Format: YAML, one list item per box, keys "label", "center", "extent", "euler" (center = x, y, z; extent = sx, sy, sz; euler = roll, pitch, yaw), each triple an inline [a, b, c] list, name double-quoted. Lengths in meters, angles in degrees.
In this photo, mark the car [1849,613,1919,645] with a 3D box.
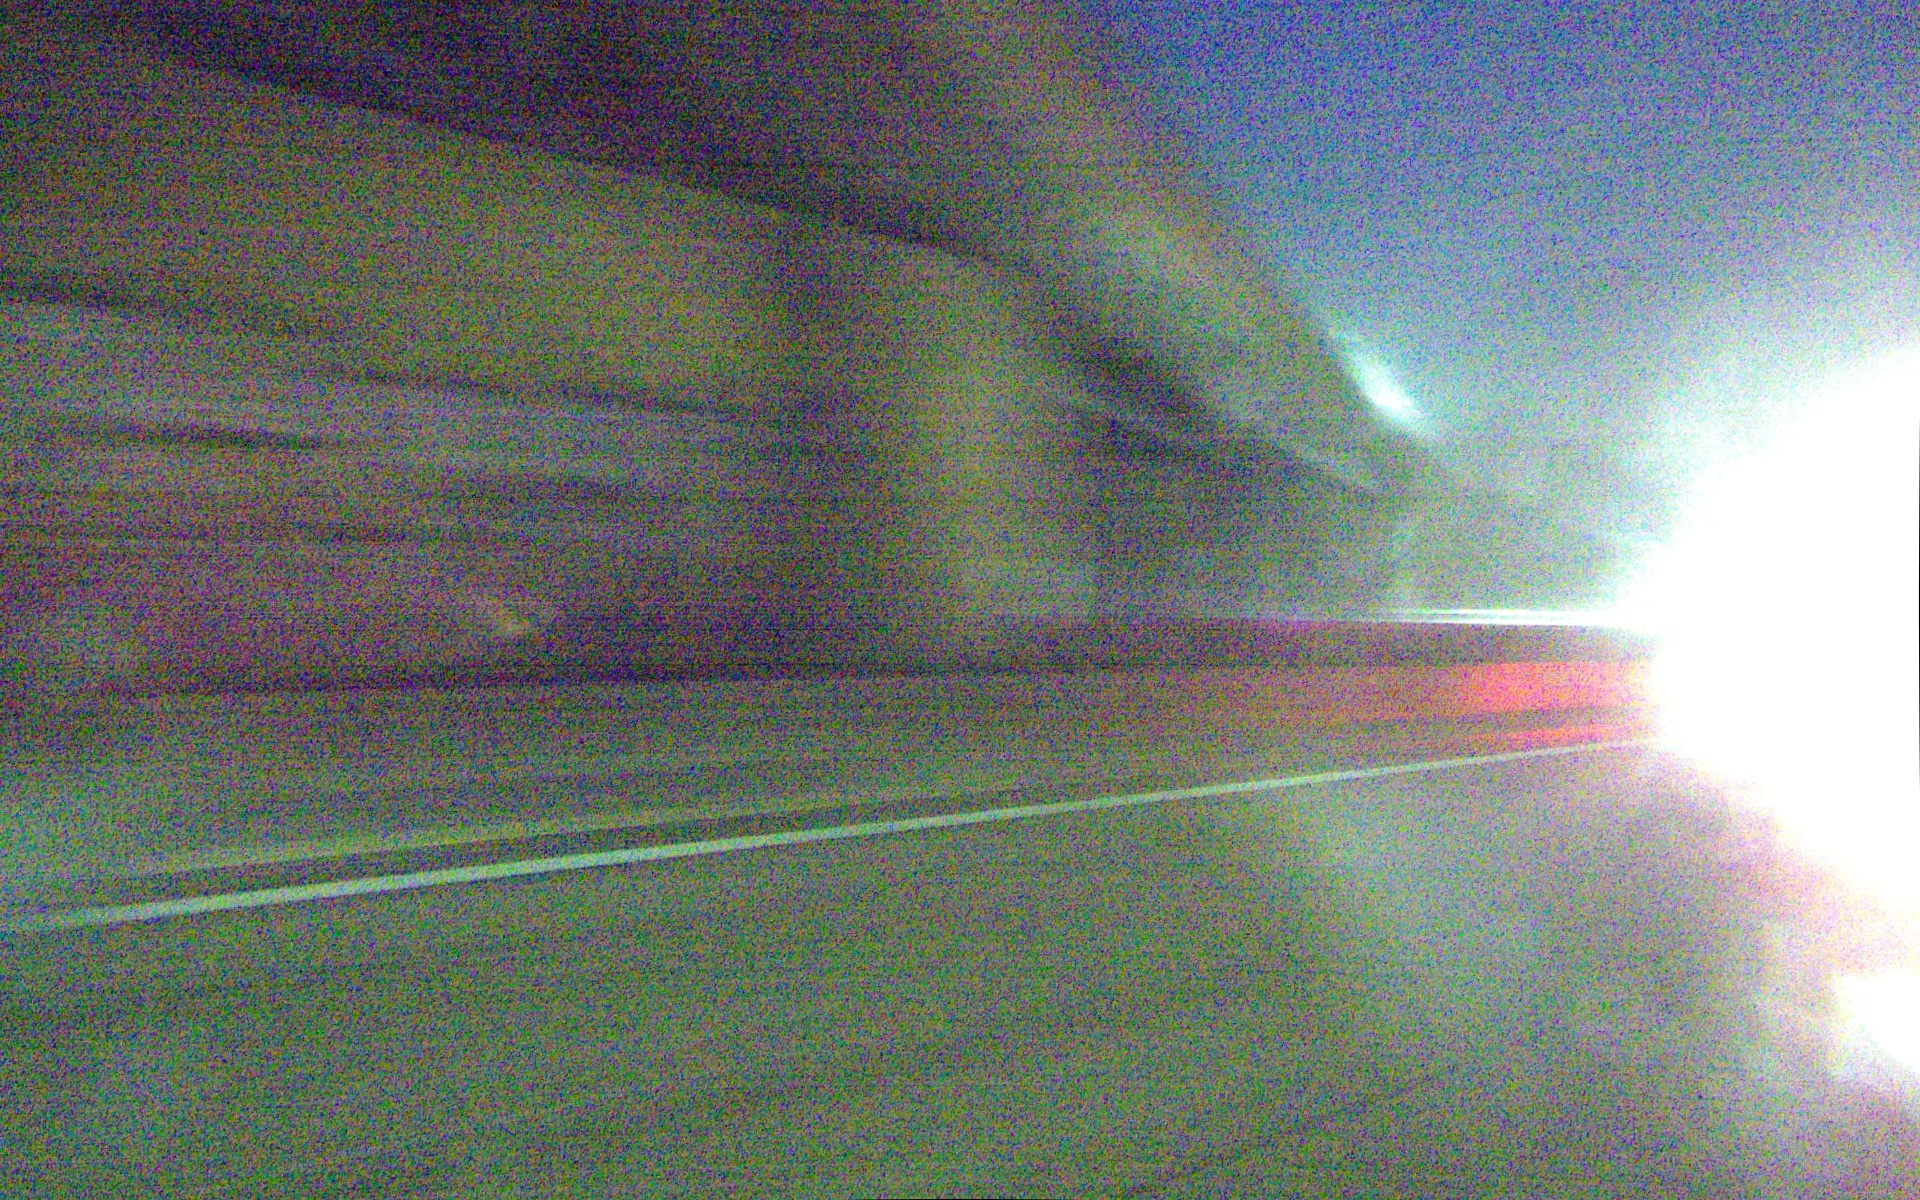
- label: "car"
  center: [47.850, 1.500, 51.880]
  extent: [3.958, 1.512, 1.981]
  euler: [1, 0, -34]
